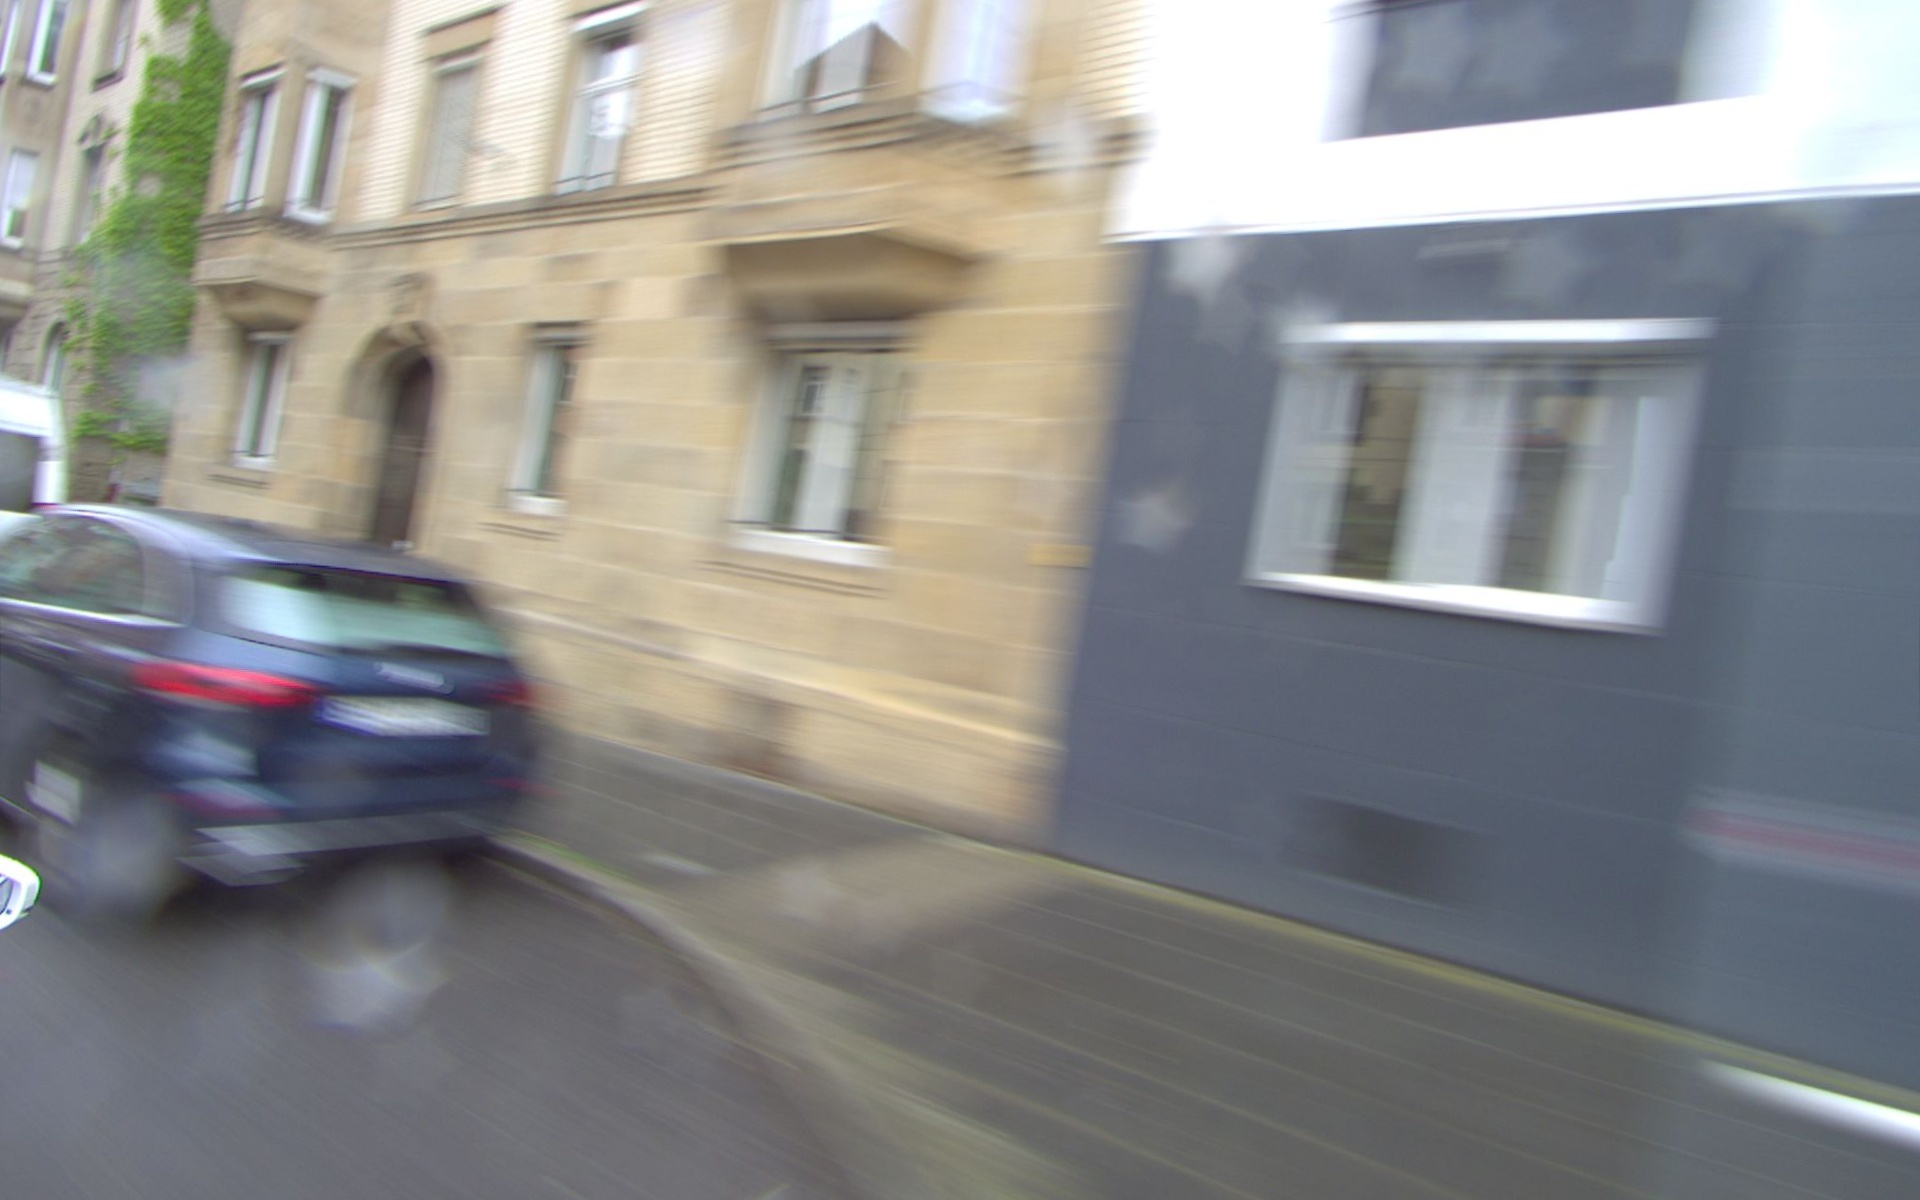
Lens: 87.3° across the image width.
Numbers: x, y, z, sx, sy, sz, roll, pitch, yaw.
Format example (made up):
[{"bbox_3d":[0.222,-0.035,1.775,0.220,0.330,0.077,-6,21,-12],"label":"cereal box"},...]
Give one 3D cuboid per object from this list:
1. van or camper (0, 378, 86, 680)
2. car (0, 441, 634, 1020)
[{"bbox_3d":[-10.885,-0.936,9.615,6.020,2.496,2.068,6,-2,34],"label":"van or camper"},{"bbox_3d":[-3.953,0.320,5.150,4.409,1.827,1.773,7,-3,33],"label":"car"}]
